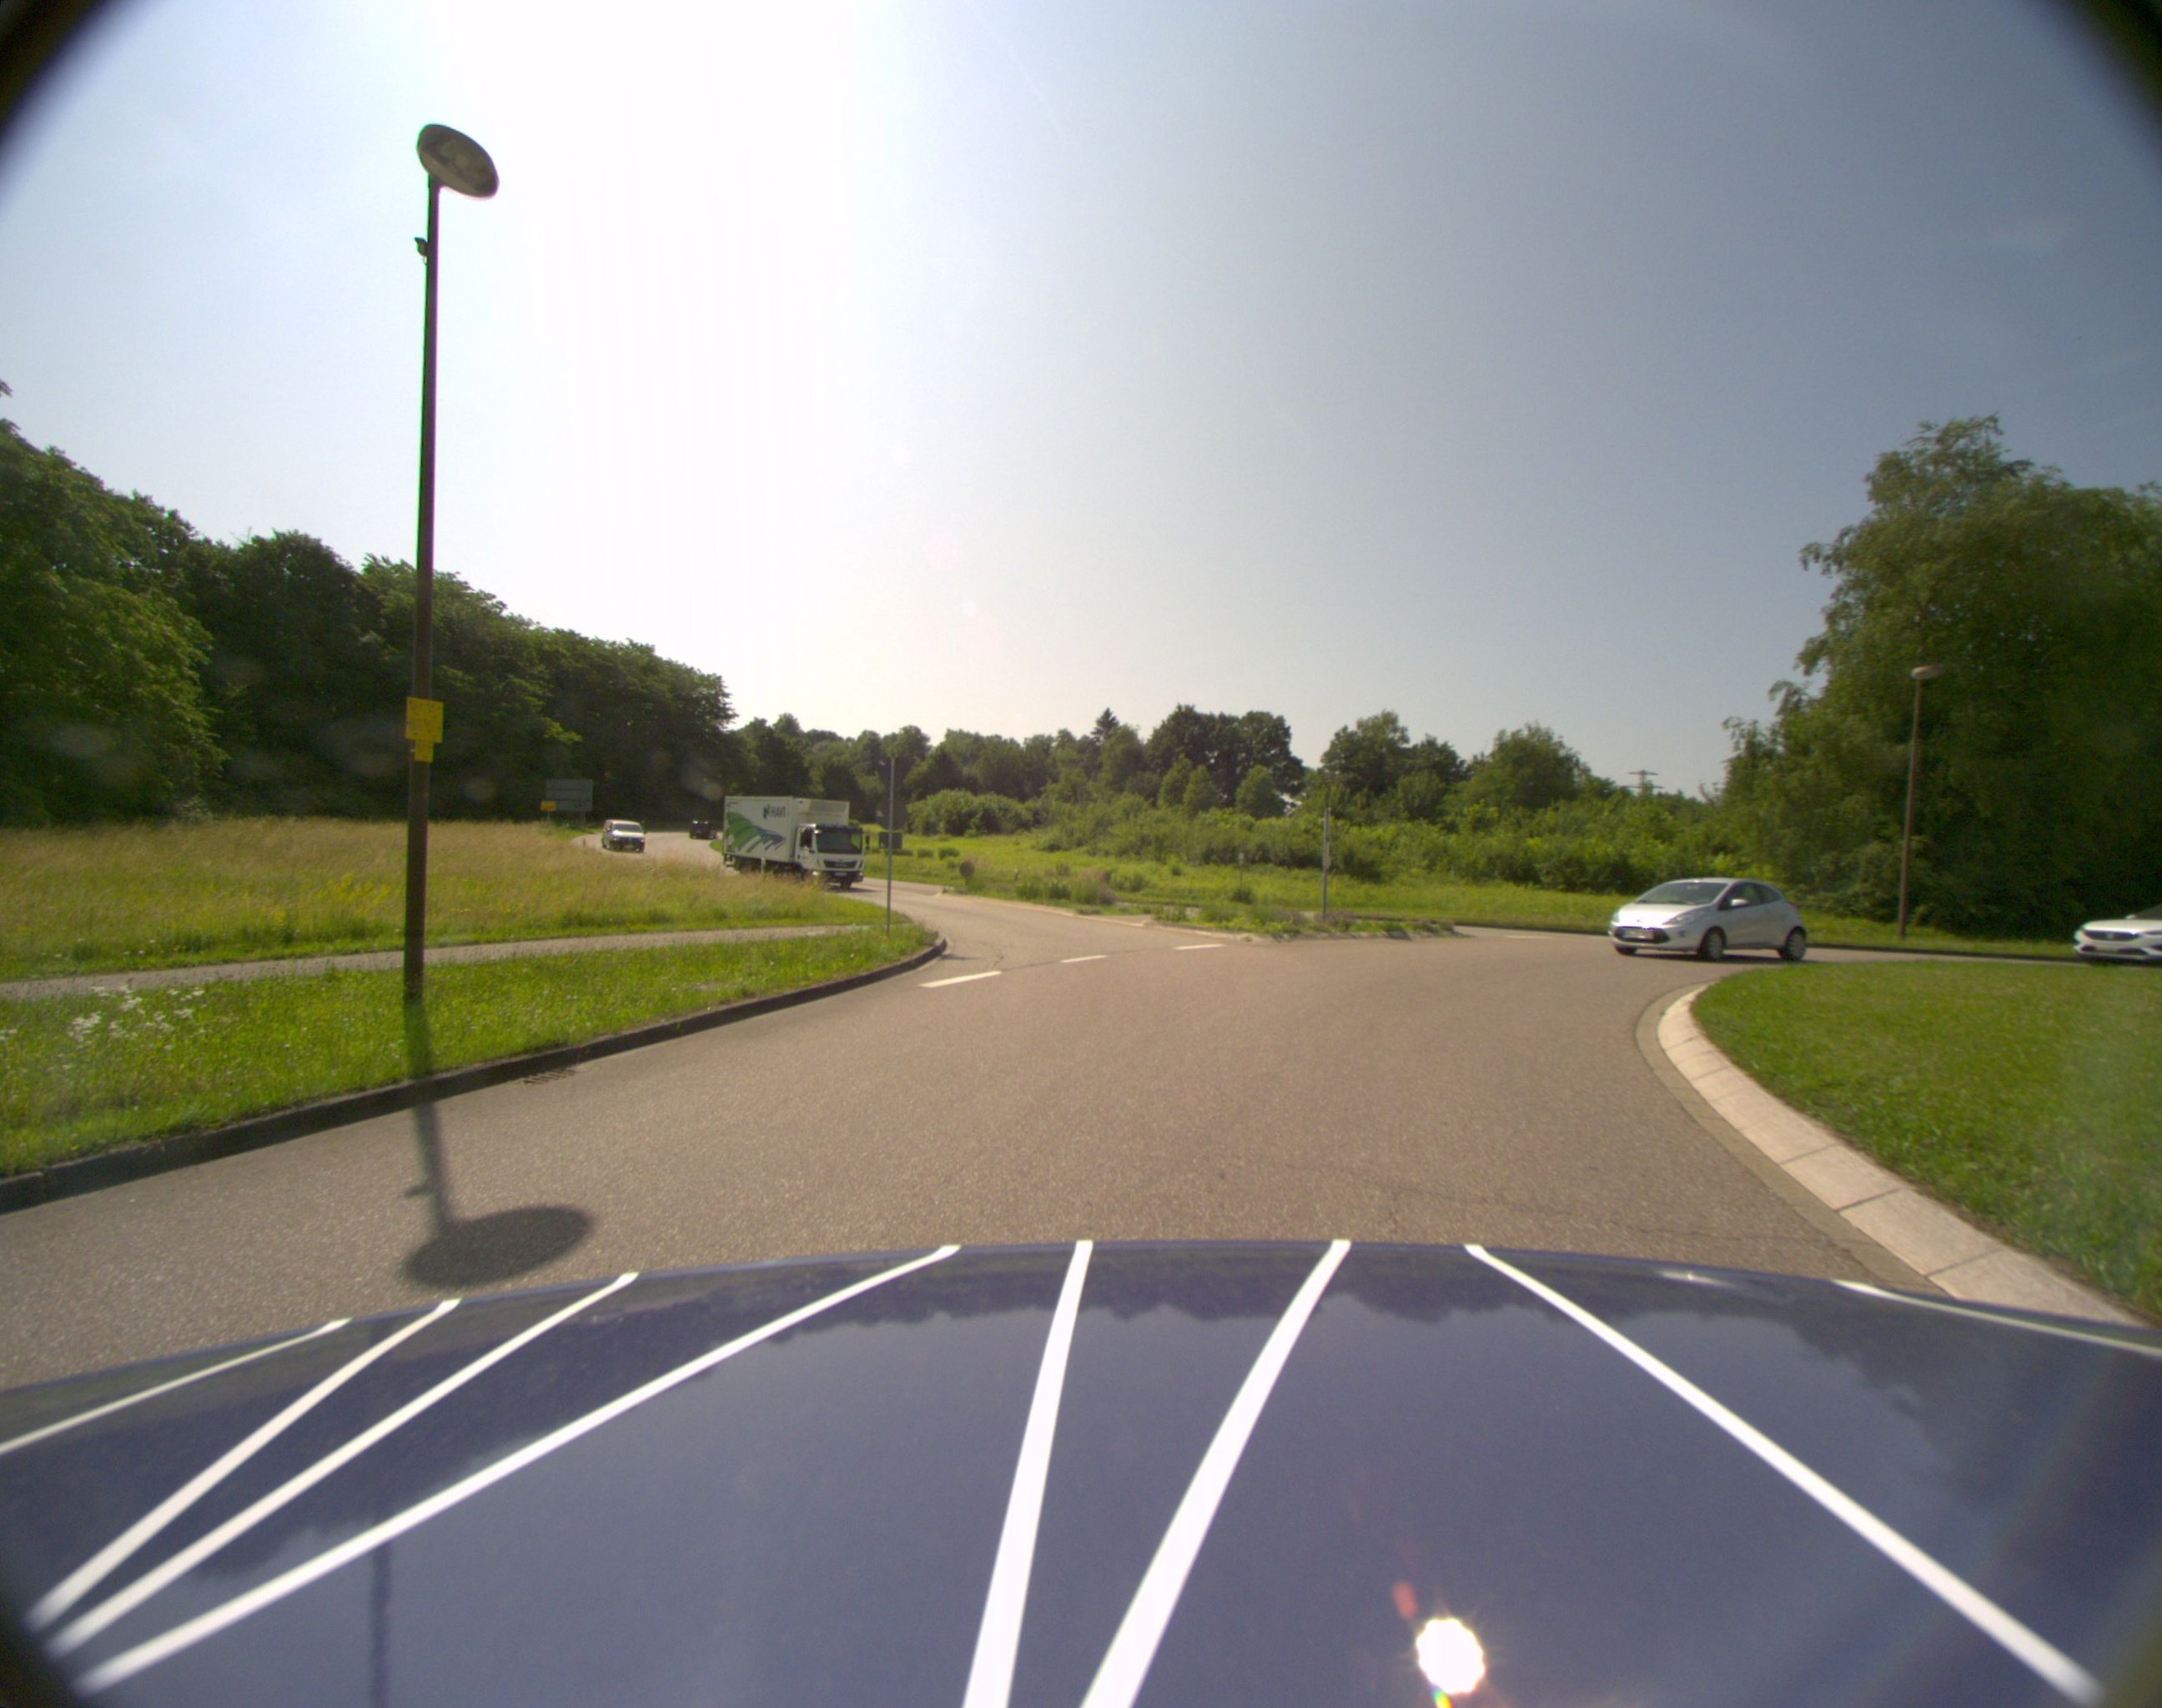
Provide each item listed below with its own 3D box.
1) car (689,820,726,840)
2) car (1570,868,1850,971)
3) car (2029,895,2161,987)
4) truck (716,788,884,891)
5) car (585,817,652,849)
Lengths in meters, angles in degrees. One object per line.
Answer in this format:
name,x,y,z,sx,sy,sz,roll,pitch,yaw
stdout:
car,-35.711,-2.258,72.751,1.913,1.586,4.370,3,-1,-8
car,11.761,1.117,14.283,4.202,1.606,2.126,-1,0,-18
car,23.789,1.783,15.852,5.117,1.643,2.197,0,1,1
truck,-12.175,-0.690,32.354,8.995,3.808,2.906,3,3,42
car,-30.317,-1.412,49.744,5.585,2.002,2.004,2,2,40
